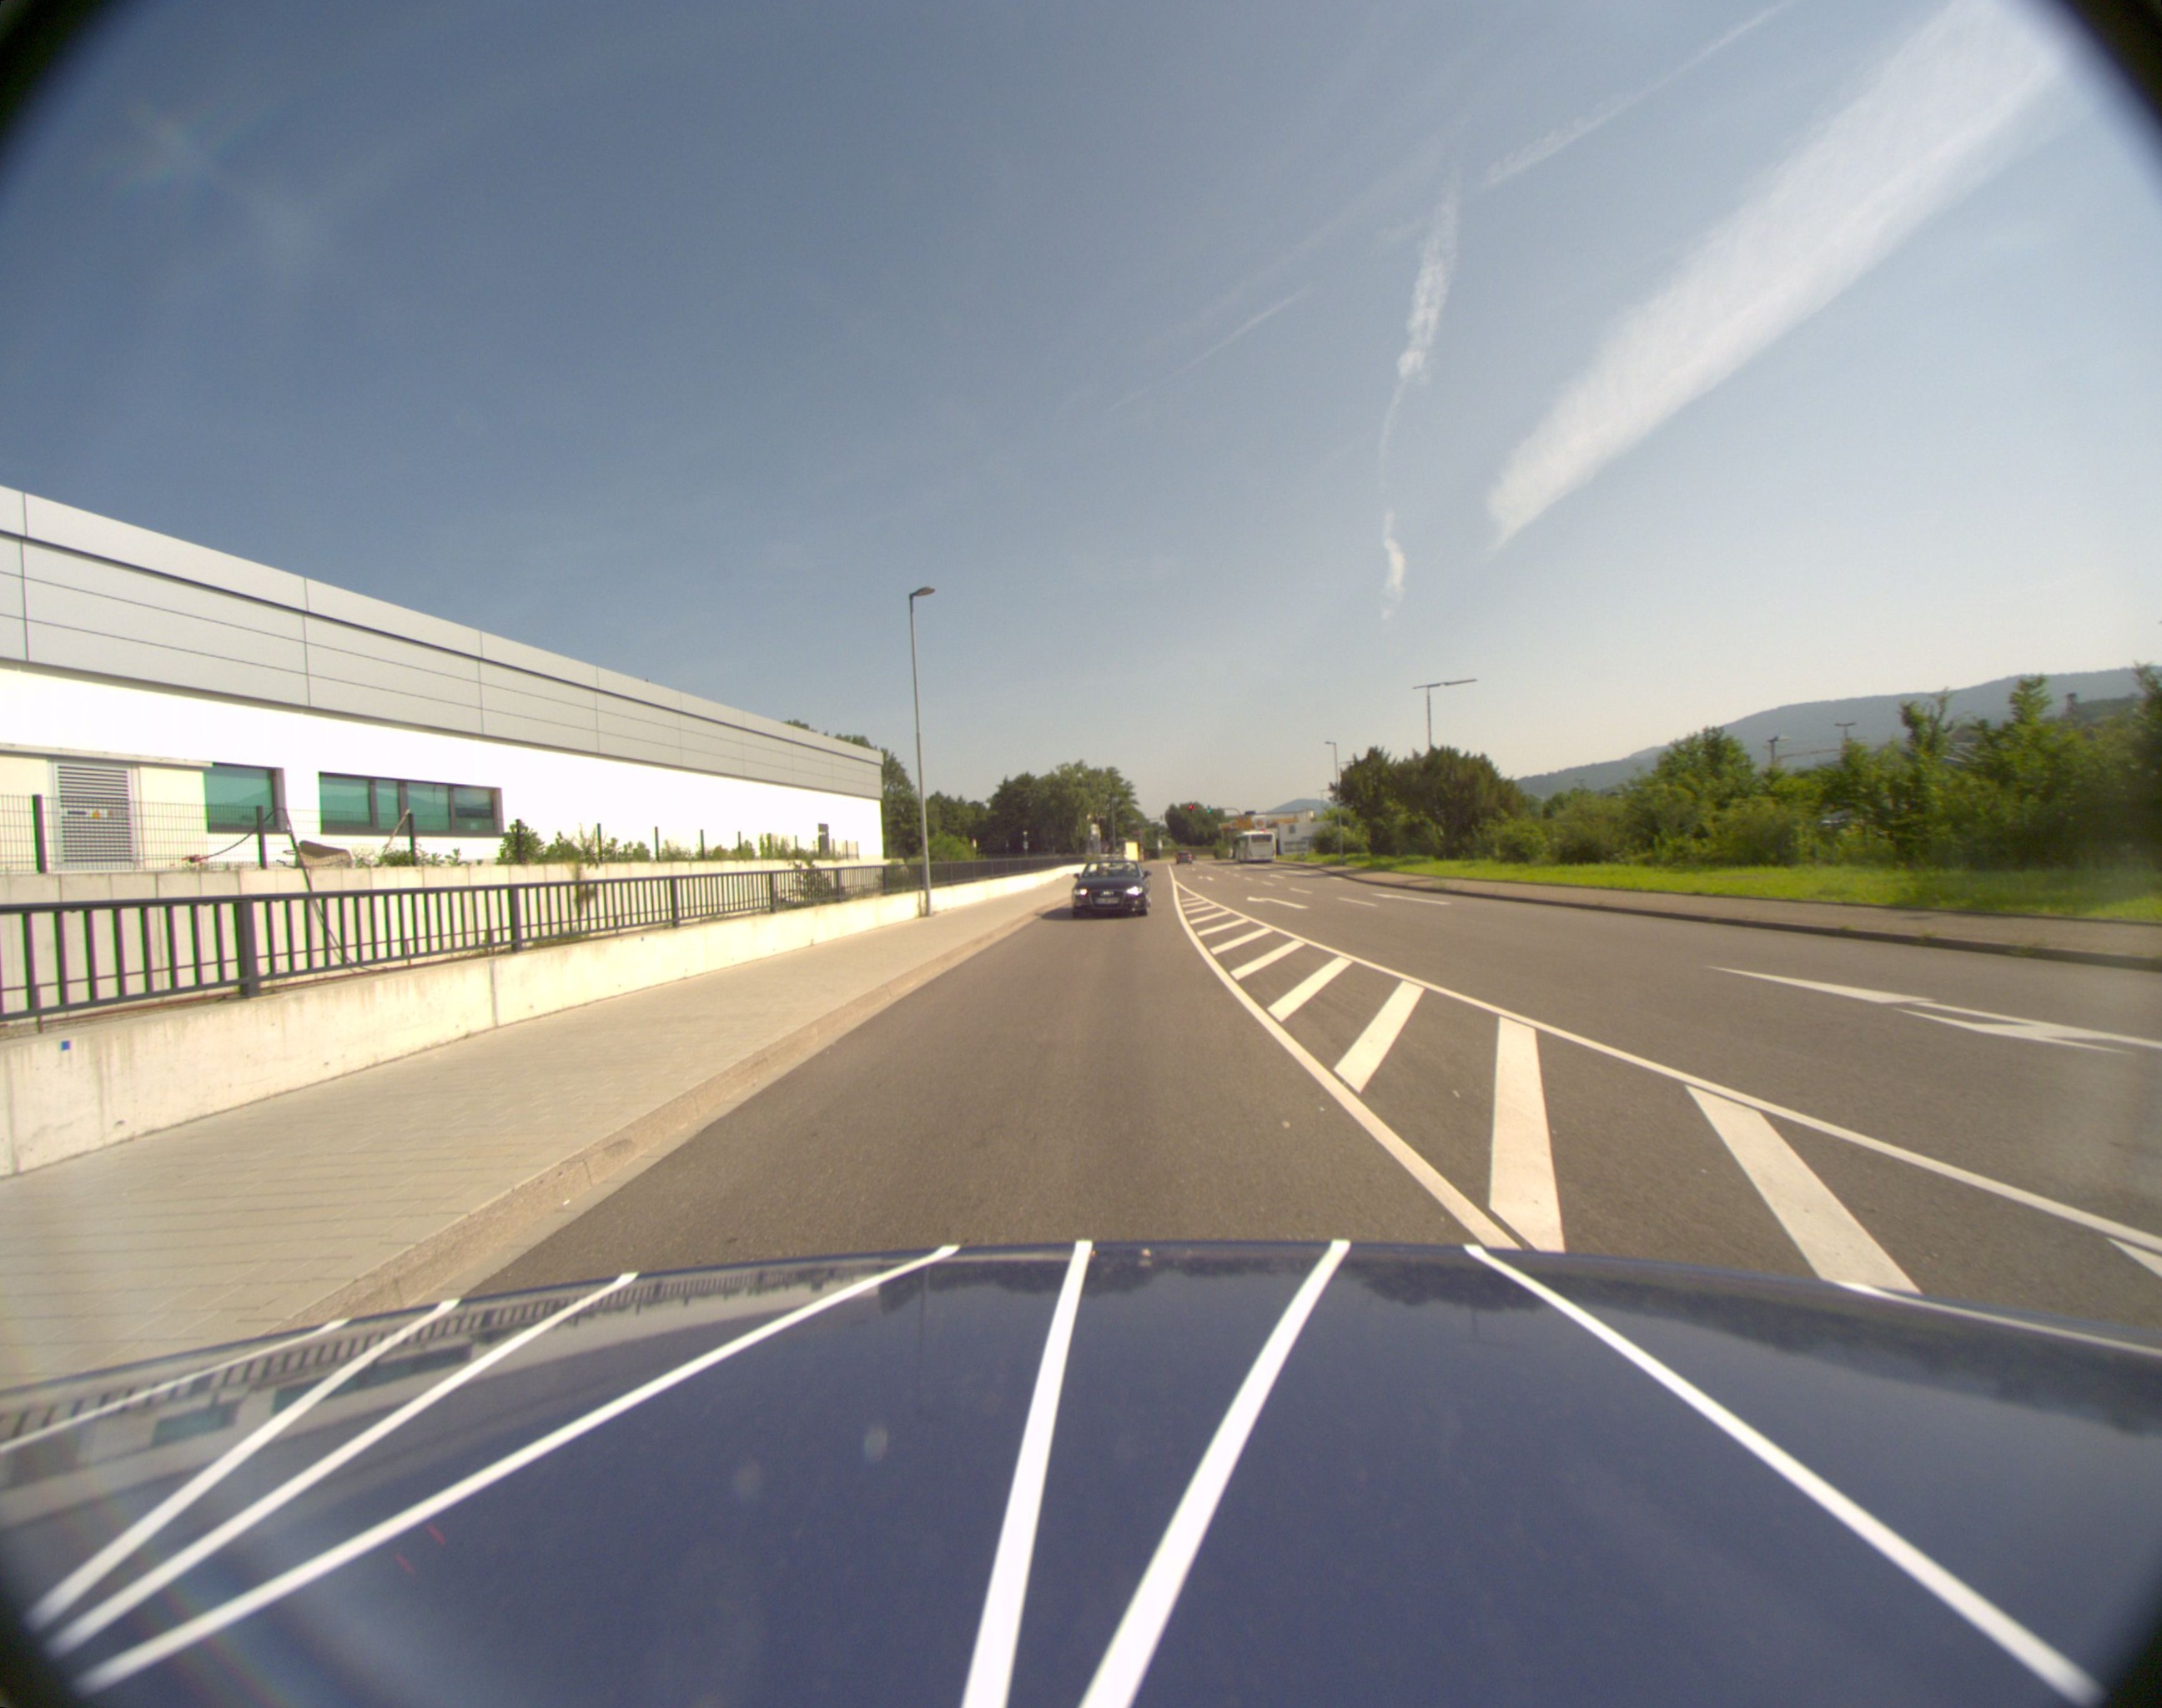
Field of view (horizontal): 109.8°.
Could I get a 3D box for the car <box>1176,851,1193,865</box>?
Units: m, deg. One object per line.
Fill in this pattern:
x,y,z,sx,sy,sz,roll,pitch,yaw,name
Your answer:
11.552,0.399,84.663,1.776,1.464,4.221,-2,1,7,car

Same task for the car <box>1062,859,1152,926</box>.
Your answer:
0.773,0.883,19.089,1.868,1.323,4.233,-3,1,6,car

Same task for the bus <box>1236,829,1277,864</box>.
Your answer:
18.012,-0.801,78.708,2.626,3.291,11.961,-2,1,6,bus

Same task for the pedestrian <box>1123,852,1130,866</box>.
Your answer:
5.493,0.587,91.862,0.712,1.661,0.593,-2,1,0,pedestrian
